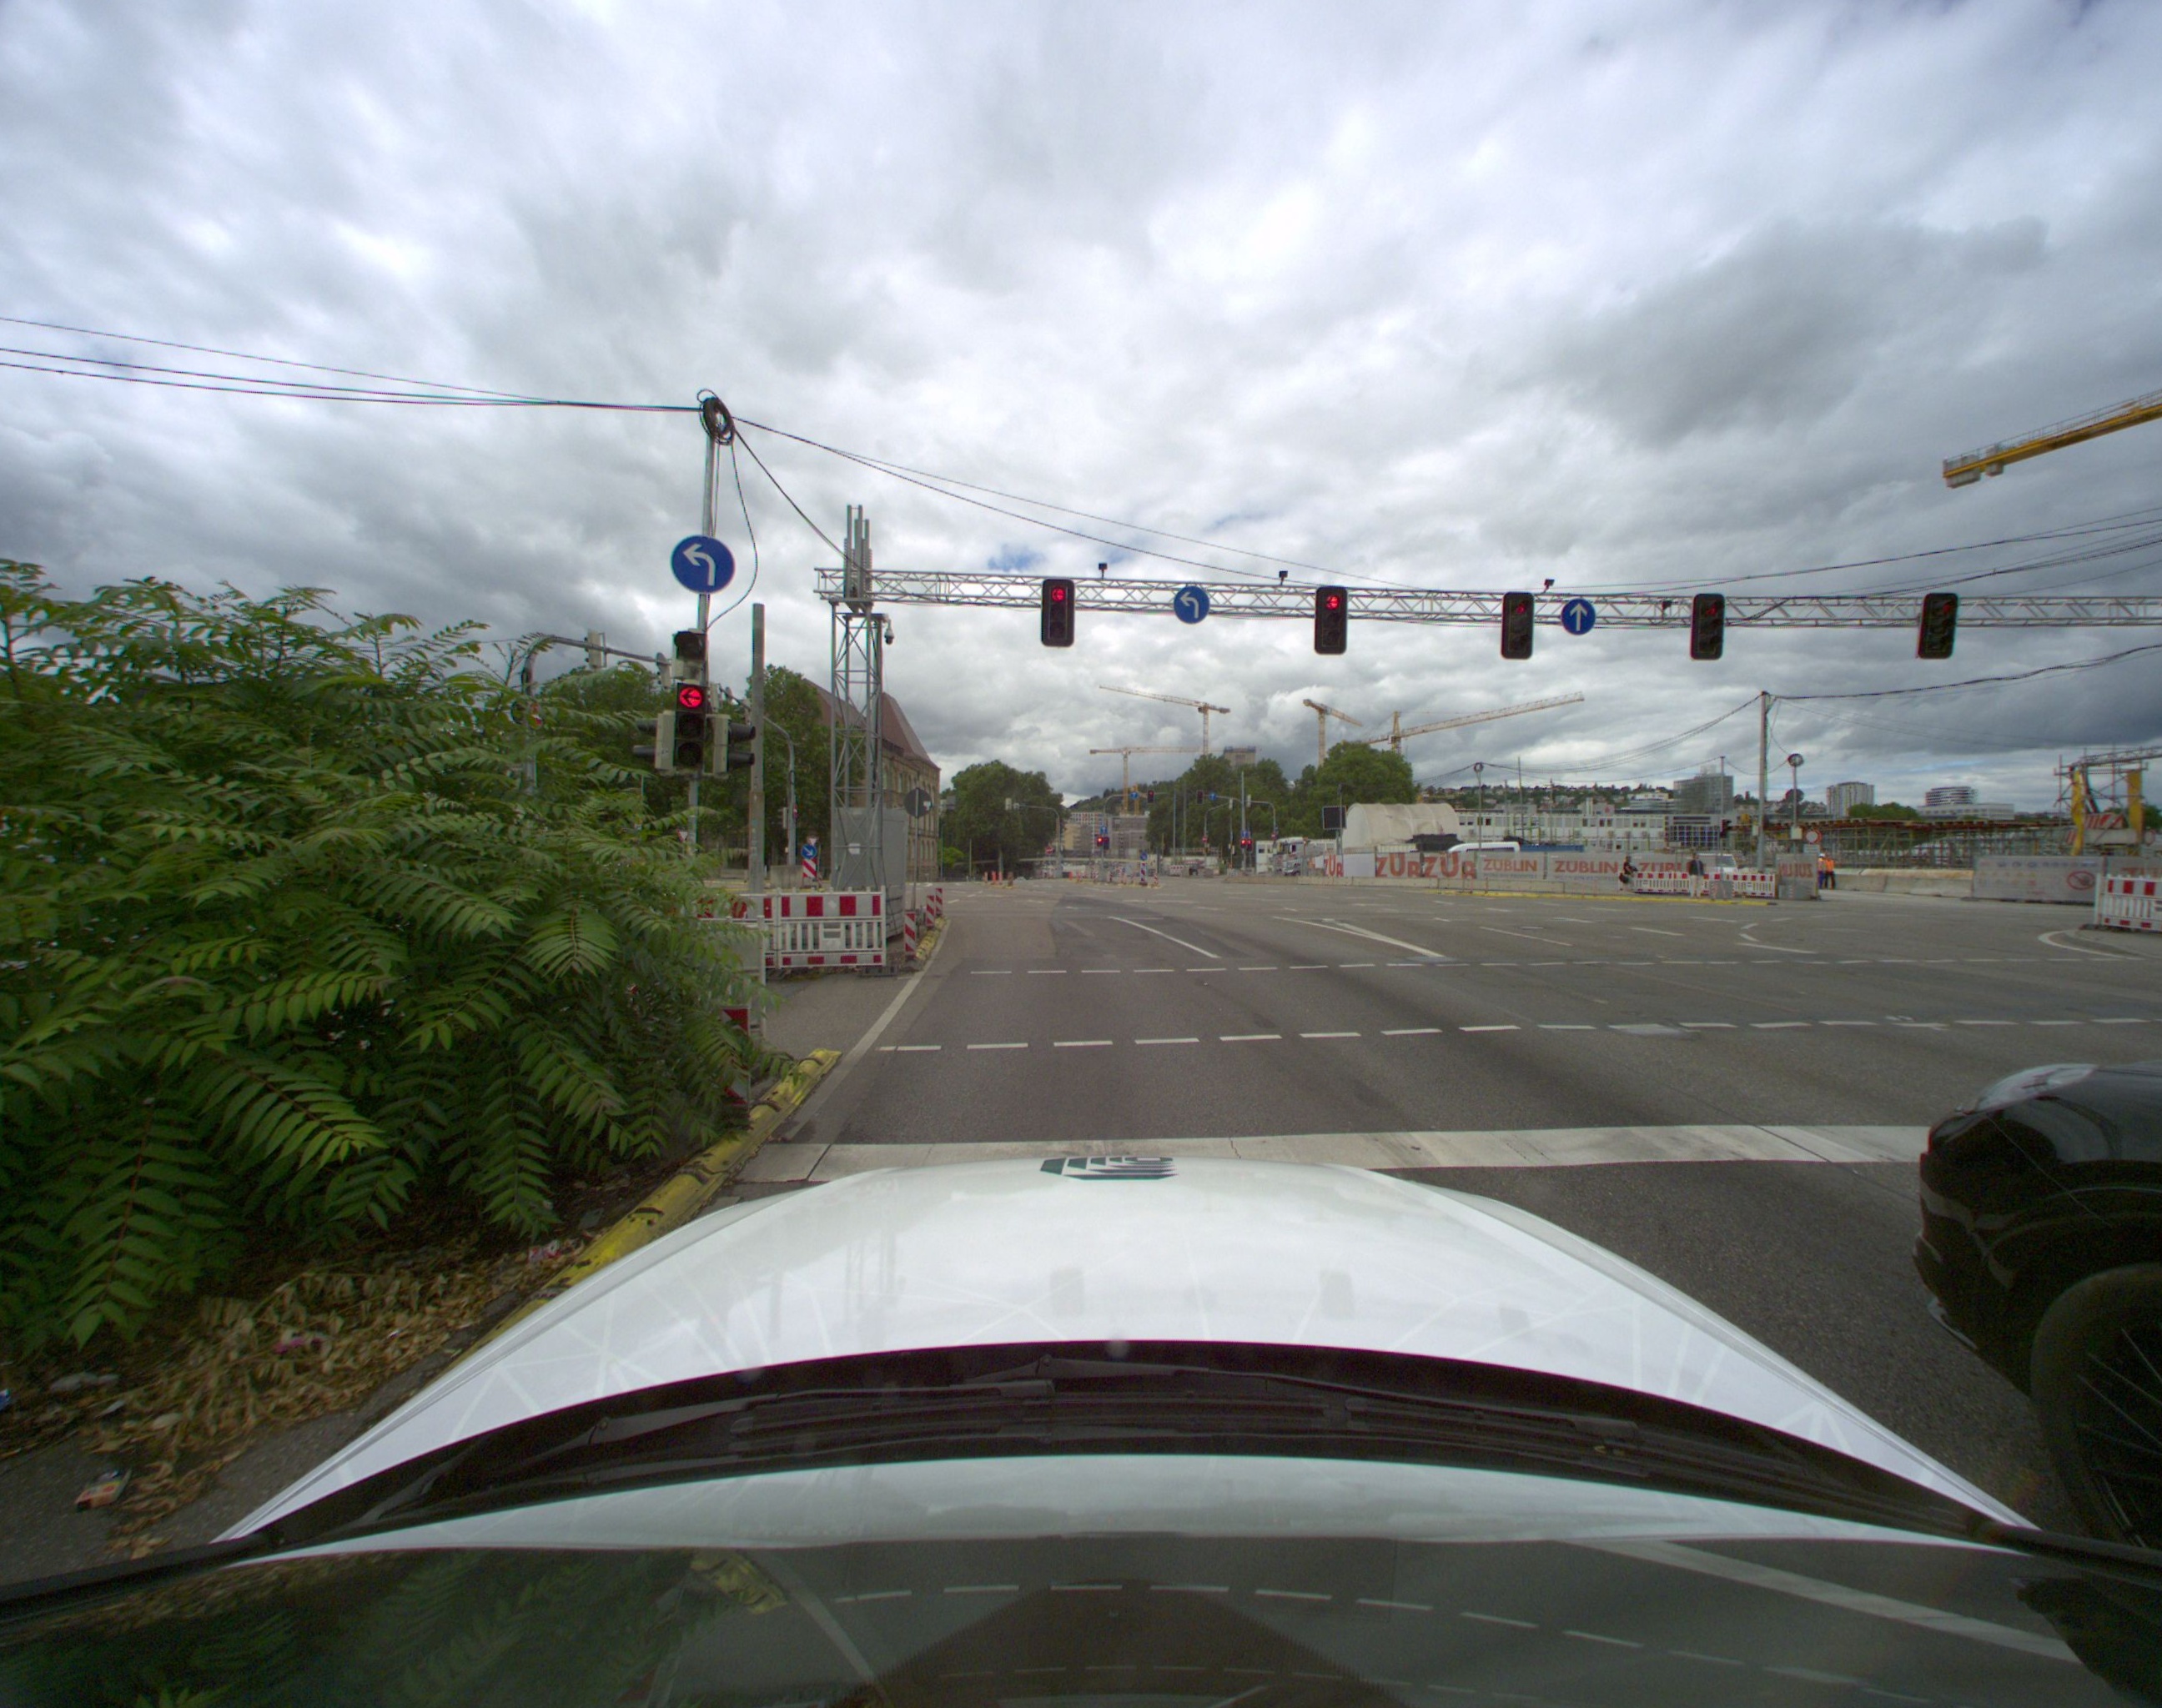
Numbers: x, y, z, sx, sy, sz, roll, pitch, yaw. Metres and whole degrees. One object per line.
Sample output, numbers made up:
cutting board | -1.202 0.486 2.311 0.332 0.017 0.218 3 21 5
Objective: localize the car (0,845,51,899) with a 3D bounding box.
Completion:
car | -32.801 0.526 23.274 4.094 1.547 1.999 0 -1 -1

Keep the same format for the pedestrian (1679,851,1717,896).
pedestrian | 25.777 0.797 34.029 1.035 1.848 0.794 -1 -1 17

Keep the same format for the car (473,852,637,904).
car | -18.658 0.811 29.139 4.501 1.759 1.988 0 0 -17

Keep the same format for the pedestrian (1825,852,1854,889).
pedestrian | 39.124 0.839 42.018 0.677 1.916 0.865 0 -1 -4

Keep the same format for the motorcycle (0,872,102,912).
motorcycle | -25.475 0.917 19.824 2.342 0.941 0.697 0 -1 -2

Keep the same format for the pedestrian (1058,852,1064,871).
pedestrian | -1.960 0.724 81.091 0.583 1.840 0.604 0 -1 -2

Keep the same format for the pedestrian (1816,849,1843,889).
pedestrian | 38.286 0.745 41.662 0.673 2.014 0.869 -1 -1 14

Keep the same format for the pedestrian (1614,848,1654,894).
pedestrian | 25.106 0.759 36.990 1.044 2.014 1.030 0 -1 -12

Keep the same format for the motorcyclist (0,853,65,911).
motorcyclist | -25.585 0.676 19.835 0.786 1.380 0.697 -1 -1 -2

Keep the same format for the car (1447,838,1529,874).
car | 23.466 0.121 47.105 3.955 2.014 2.009 -1 -1 17

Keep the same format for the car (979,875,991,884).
car | -20.347 5.456 172.641 1.987 1.838 3.998 0 -1 -1

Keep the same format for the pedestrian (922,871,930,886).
pedestrian | -21.597 3.401 113.605 0.946 2.014 0.767 0 -1 3

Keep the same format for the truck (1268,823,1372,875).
truck | 23.607 -0.524 80.621 9.735 4.961 3.097 0 -1 -16

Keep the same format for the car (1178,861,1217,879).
car | 13.208 1.821 92.553 3.949 2.014 2.012 -1 -1 28

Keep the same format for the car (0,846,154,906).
car | -28.654 0.598 22.328 4.095 1.547 1.999 0 -1 -2
